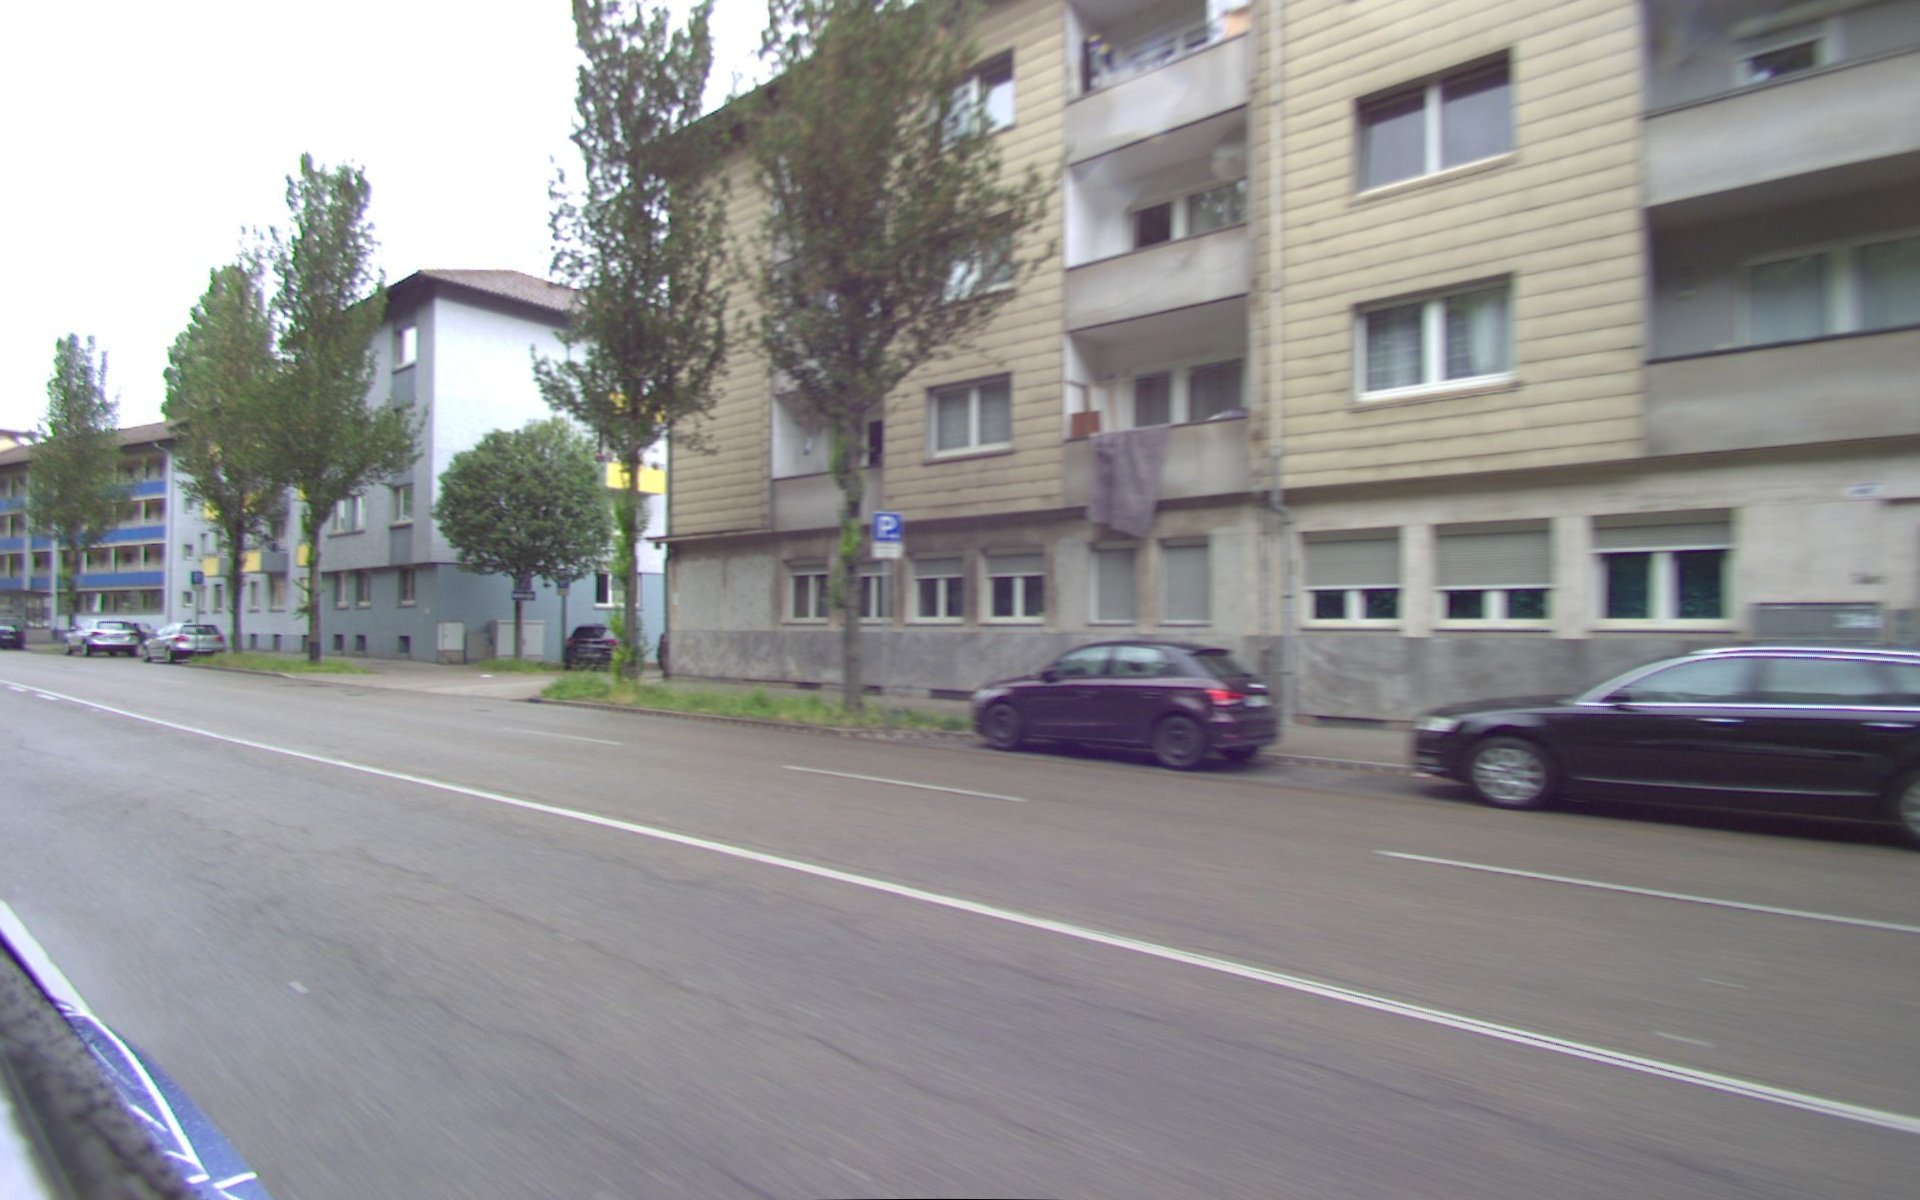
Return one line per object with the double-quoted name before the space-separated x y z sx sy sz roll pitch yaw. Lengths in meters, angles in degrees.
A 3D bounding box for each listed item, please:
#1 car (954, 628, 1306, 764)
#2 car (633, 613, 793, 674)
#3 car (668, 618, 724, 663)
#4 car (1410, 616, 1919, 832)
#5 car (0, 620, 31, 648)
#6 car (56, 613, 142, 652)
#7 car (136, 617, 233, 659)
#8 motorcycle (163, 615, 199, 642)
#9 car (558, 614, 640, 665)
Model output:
"car" 1.959 1.062 12.346 3.985 1.397 1.609 -1 -3 40
"car" -6.948 1.228 28.786 1.924 1.591 4.108 -2 -3 39
"car" -9.353 1.434 36.088 1.764 1.505 4.010 2 -2 -13
"car" 6.493 0.933 8.365 4.784 1.500 1.799 -1 -4 39
"car" -52.419 1.797 54.943 4.880 1.450 1.805 -1 -4 34
"car" -37.739 1.439 44.317 4.523 1.616 1.748 -1 -3 35
"car" -28.793 1.401 37.540 4.197 1.464 1.709 -1 -3 36
"motorcycle" -43.237 1.578 56.168 2.225 1.424 0.671 -1 0 27
"car" -11.802 1.292 33.336 1.686 1.505 4.006 2 -2 -7
